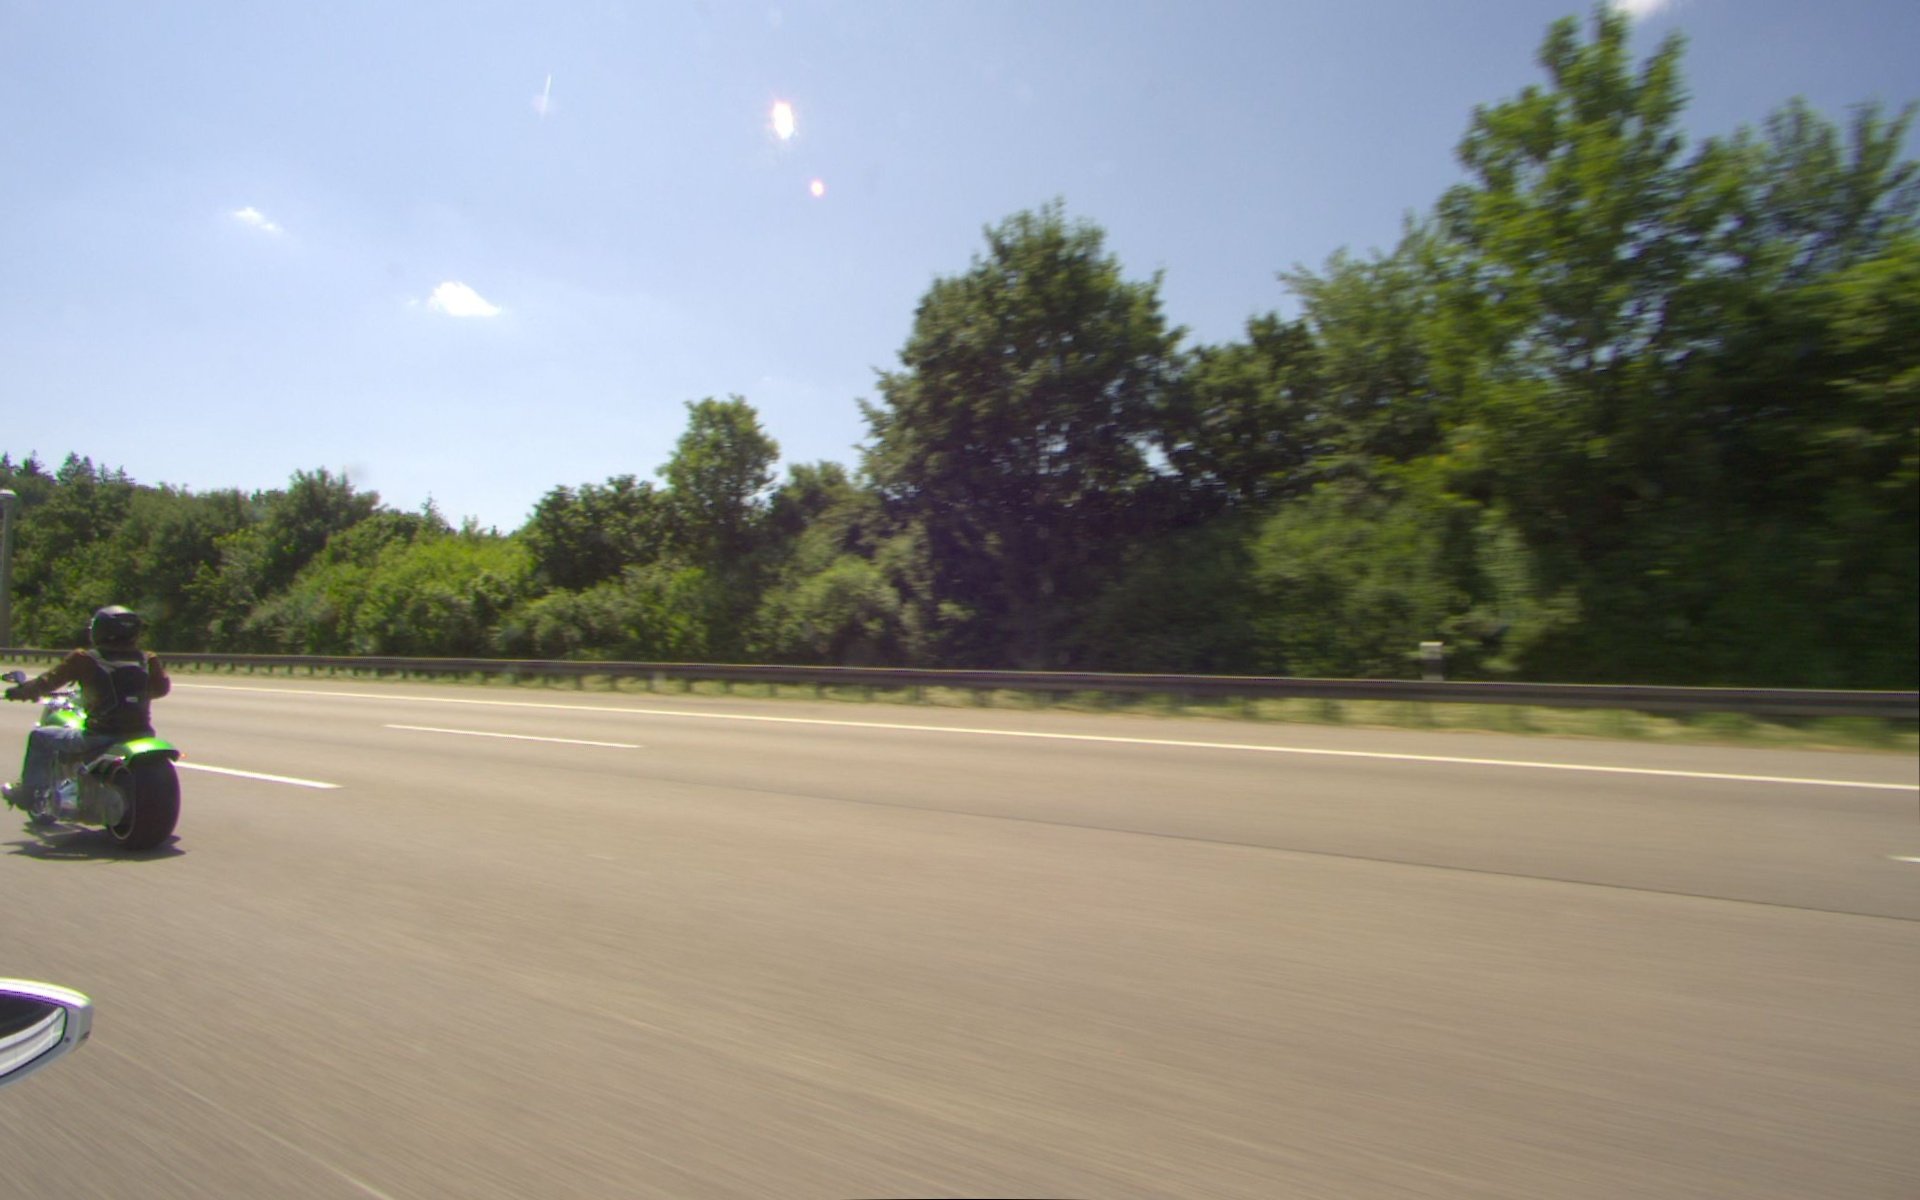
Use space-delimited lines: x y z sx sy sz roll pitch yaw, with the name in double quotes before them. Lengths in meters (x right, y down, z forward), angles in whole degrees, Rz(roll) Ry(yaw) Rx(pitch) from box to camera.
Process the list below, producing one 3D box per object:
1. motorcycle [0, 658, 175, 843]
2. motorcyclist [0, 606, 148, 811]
"motorcycle" -6.657 1.045 7.516 2.404 1.150 0.534 -1 -1 35
"motorcyclist" -6.947 0.780 7.697 1.009 1.445 0.850 0 -1 35
